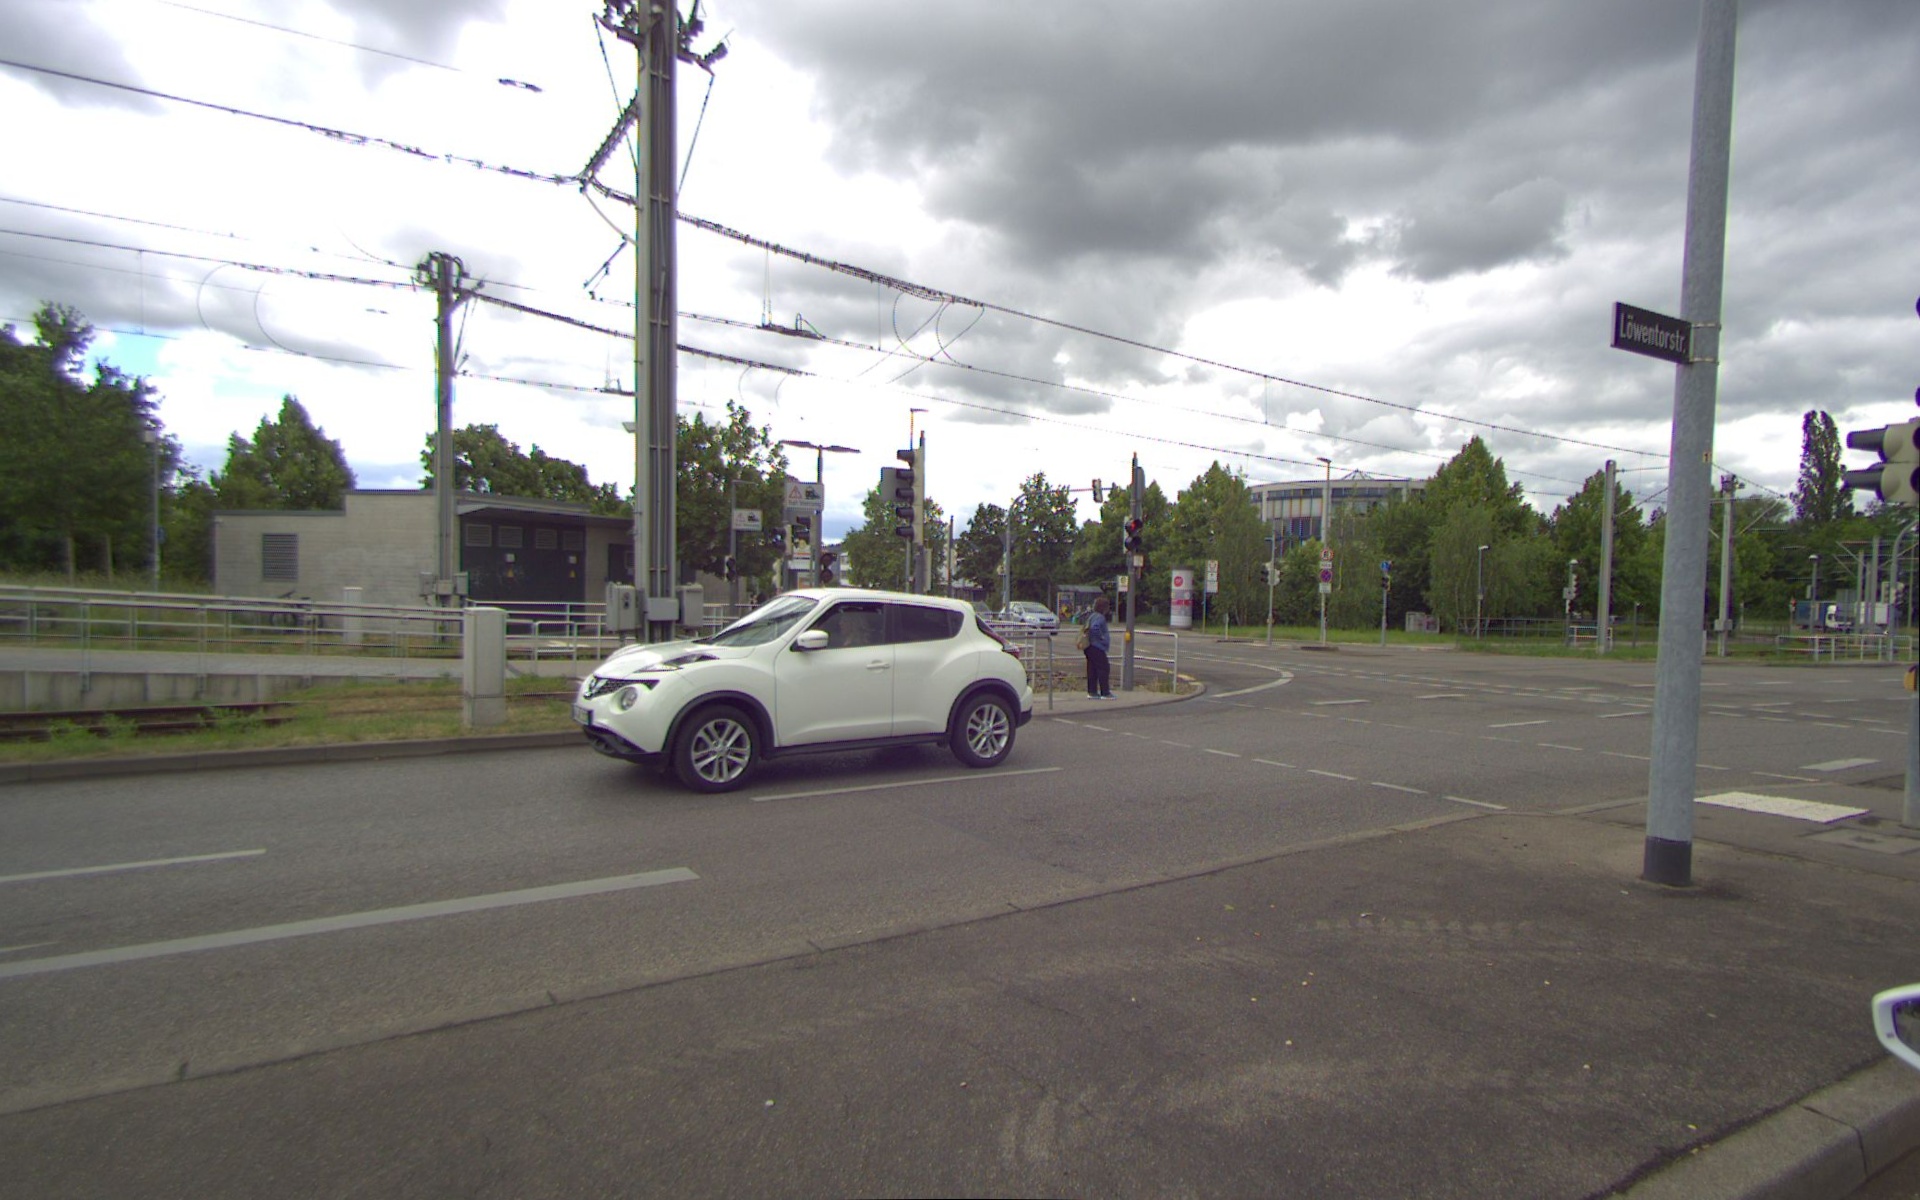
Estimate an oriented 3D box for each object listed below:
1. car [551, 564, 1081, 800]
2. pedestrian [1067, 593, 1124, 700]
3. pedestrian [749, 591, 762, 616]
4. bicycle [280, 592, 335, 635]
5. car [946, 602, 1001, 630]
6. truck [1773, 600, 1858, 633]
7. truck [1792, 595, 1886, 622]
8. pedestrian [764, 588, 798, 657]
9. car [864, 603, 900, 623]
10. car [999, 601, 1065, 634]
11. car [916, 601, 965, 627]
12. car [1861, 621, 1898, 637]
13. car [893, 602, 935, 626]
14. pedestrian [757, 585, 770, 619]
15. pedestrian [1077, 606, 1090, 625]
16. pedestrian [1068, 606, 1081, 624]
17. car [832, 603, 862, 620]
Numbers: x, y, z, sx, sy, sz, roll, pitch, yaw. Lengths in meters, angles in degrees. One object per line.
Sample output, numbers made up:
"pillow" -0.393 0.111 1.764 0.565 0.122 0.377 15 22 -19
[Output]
"car" -1.170 0.618 9.038 4.380 1.650 1.817 1 -1 -34
"pedestrian" 2.080 0.699 15.439 0.701 1.584 0.533 1 1 -44
"pedestrian" -13.823 0.213 67.914 0.771 1.649 0.660 1 0 -22
"bicycle" -17.329 0.343 26.677 1.452 1.101 0.492 1 0 22
"car" 0.686 0.842 53.669 1.706 1.456 3.731 1 0 -20
"truck" 106.047 2.042 124.774 2.997 3.810 12.818 2 0 16
"truck" 115.390 1.050 132.195 2.694 3.373 11.409 1 0 2
"pedestrian" -4.314 0.529 24.202 0.695 1.628 0.655 1 0 -19
"car" -5.816 0.962 74.781 1.706 1.456 3.731 1 0 -20
"car" 3.299 0.798 46.809 1.706 1.456 3.731 1 0 -20
"car" -1.153 0.815 58.165 1.706 1.456 3.731 1 0 -20
"car" 97.007 3.067 106.024 1.754 1.465 4.521 -1 0 27
"car" -3.007 0.887 64.931 1.706 1.456 3.731 1 0 -20
"pedestrian" -11.957 0.117 61.206 0.738 1.993 0.795 1 0 -9
"pedestrian" 8.824 1.077 71.617 0.652 1.322 0.780 1 0 -16
"pedestrian" 8.308 1.079 72.938 0.652 1.321 0.780 1 0 -16
"car" -9.773 0.986 86.715 1.706 1.456 3.731 1 0 -20
